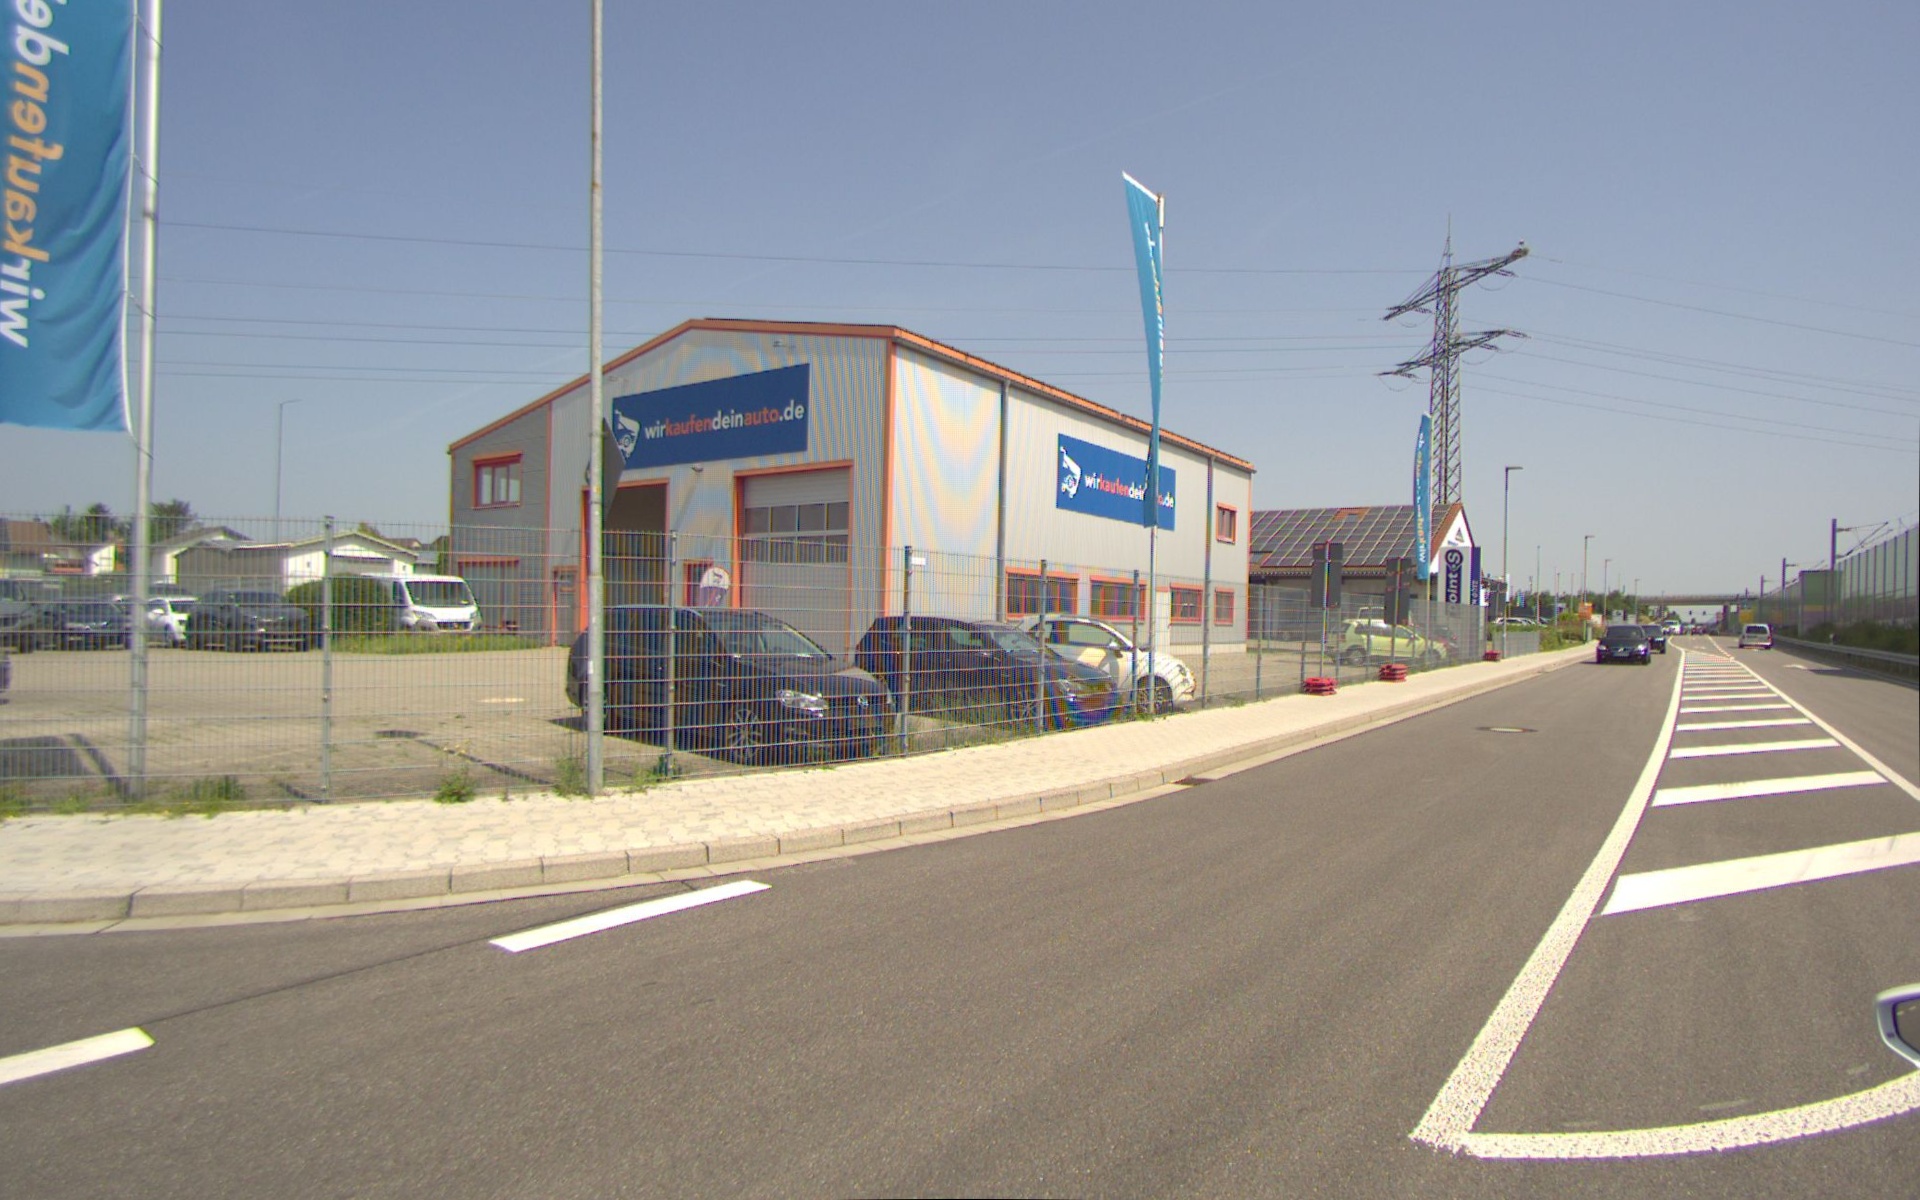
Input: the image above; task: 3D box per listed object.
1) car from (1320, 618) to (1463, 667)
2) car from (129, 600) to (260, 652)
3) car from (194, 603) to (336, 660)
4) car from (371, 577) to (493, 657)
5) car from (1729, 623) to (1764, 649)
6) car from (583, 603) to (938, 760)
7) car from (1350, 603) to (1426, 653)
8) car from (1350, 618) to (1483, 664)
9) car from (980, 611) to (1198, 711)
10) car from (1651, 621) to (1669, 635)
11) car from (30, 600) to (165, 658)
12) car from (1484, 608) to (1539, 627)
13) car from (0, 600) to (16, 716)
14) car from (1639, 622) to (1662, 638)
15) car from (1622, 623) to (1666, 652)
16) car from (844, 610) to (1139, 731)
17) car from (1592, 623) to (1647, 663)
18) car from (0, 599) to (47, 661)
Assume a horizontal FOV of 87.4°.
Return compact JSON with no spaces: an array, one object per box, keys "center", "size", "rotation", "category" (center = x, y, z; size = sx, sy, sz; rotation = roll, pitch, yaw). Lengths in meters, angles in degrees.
[{"center":[14.397,1.399,33.636],"size":[4.012,1.513,1.744],"rotation":[1,0,1],"category":"car"},{"center":[-22.805,0.742,29.897],"size":[4.129,1.439,1.893],"rotation":[0,-1,34],"category":"car"},{"center":[-18.939,0.808,27.322],"size":[4.008,1.439,1.868],"rotation":[0,-1,34],"category":"car"},{"center":[-15.907,0.498,30.165],"size":[4.262,2.225,1.988],"rotation":[0,-1,44],"category":"car"},{"center":[58.385,2.664,74.576],"size":[1.969,1.780,3.984],"rotation":[1,-1,38],"category":"car"},{"center":[-2.363,0.808,11.606],"size":[3.932,1.522,1.770],"rotation":[0,-1,34],"category":"car"},{"center":[18.636,1.228,43.656],"size":[1.968,2.040,4.663],"rotation":[0,-2,37],"category":"car"},{"center":[16.165,1.434,35.694],"size":[3.919,1.513,1.744],"rotation":[1,0,4],"category":"car"},{"center":[2.171,0.968,16.745],"size":[3.416,1.484,1.591],"rotation":[1,0,11],"category":"car"},{"center":[79.405,3.199,113.951],"size":[1.647,1.621,3.959],"rotation":[-1,-2,36],"category":"car"},{"center":[-24.266,0.772,28.238],"size":[3.930,1.522,1.771],"rotation":[0,0,32],"category":"car"},{"center":[50.067,1.585,91.221],"size":[4.168,1.475,1.758],"rotation":[4,2,35],"category":"car"},{"center":[-14.437,0.750,12.275],"size":[1.746,1.522,3.987],"rotation":[0,0,35],"category":"car"},{"center":[67.456,2.906,98.113],"size":[1.741,1.485,4.245],"rotation":[-1,-2,35],"category":"car"},{"center":[39.794,2.177,58.395],"size":[1.857,1.638,4.505],"rotation":[-2,-2,37],"category":"car"},{"center":[0.430,0.926,14.656],"size":[3.928,1.522,1.772],"rotation":[0,-1,30],"category":"car"},{"center":[27.594,1.776,41.999],"size":[1.719,1.615,3.783],"rotation":[-2,-2,36],"category":"car"},{"center":[-25.424,0.736,25.891],"size":[3.930,1.522,1.771],"rotation":[0,0,32],"category":"car"}]
